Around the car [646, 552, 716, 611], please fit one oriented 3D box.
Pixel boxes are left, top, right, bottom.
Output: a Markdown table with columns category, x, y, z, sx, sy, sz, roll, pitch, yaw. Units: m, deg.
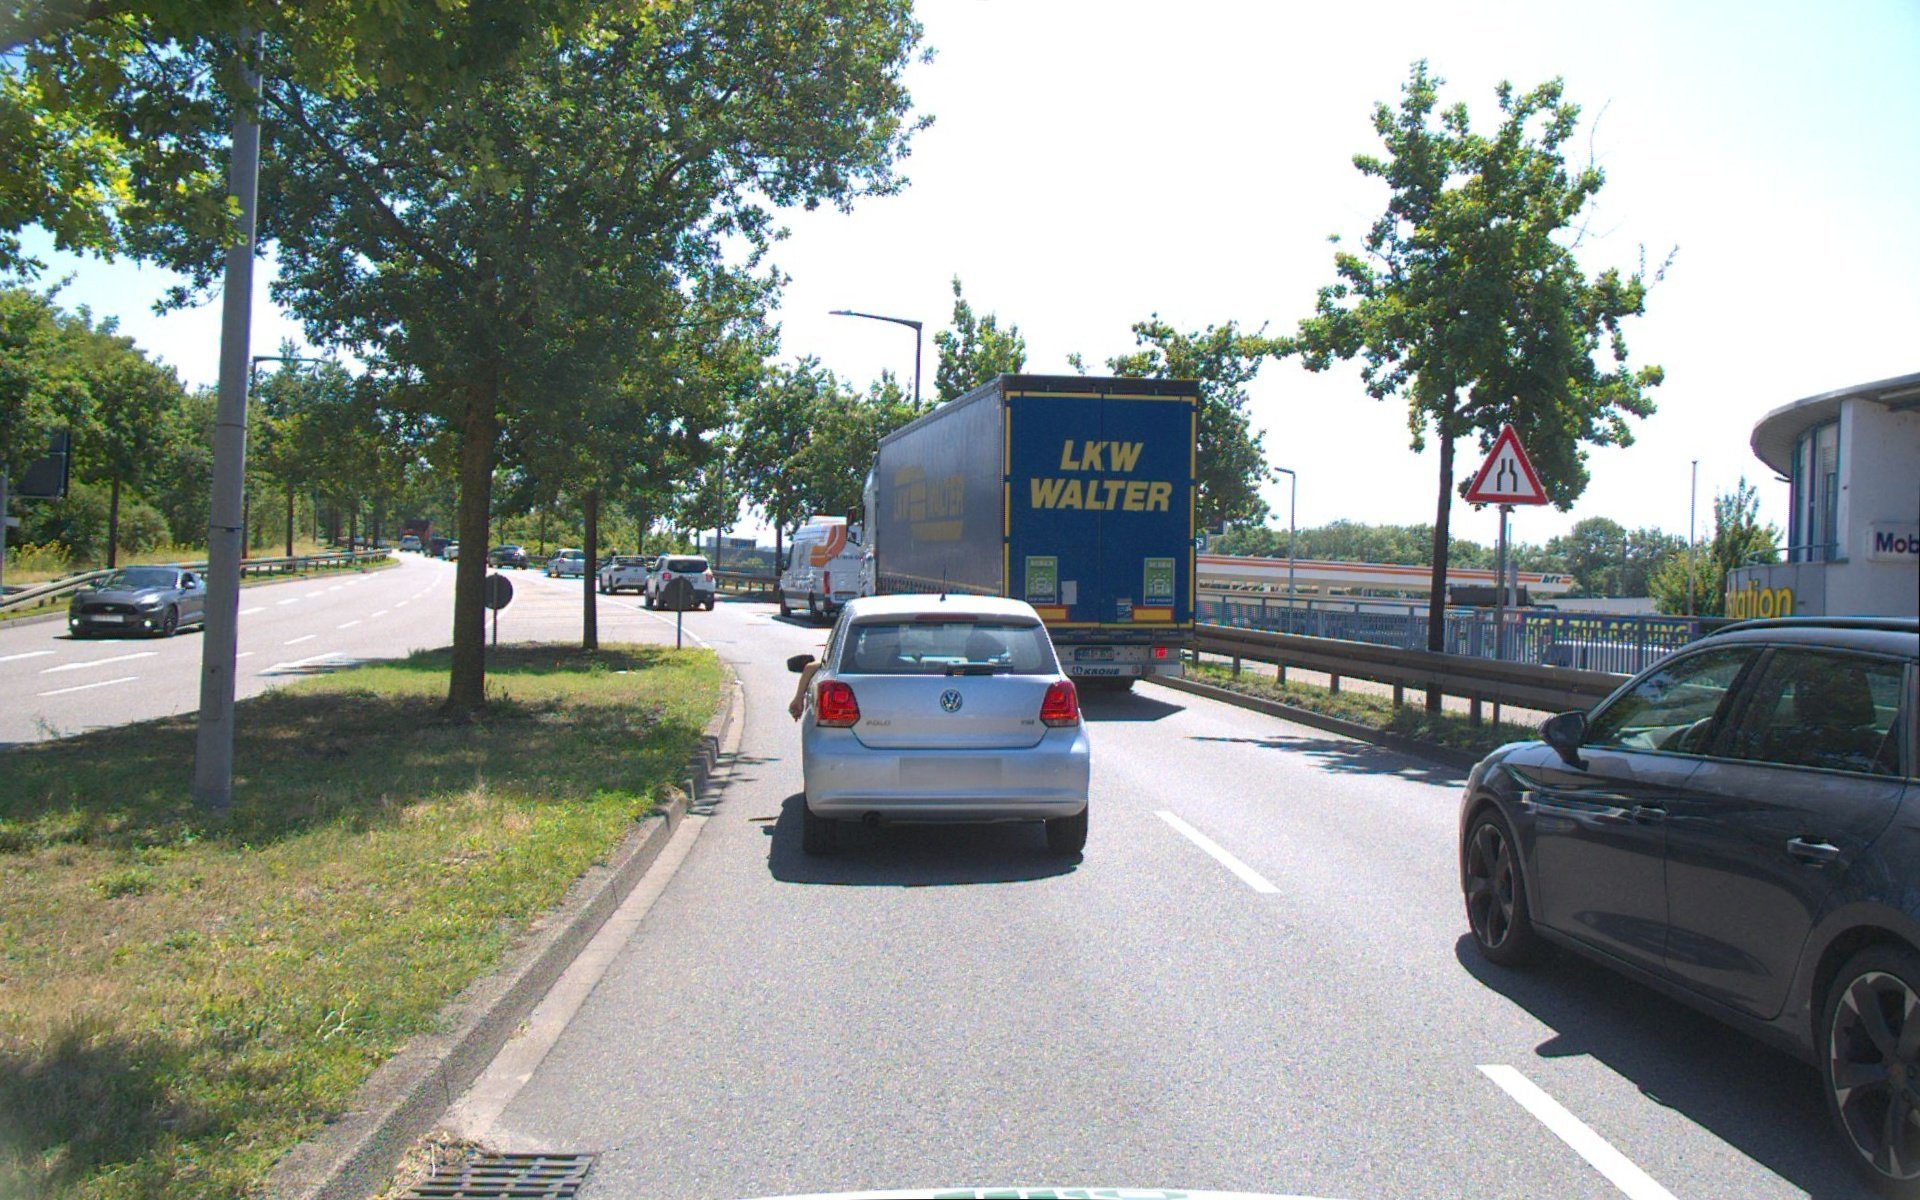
| category | x | y | z | sx | sy | sz | roll | pitch | yaw |
| --- | --- | --- | --- | --- | --- | --- | --- | --- | --- |
| car | -8.890 | -0.560 | 52.535 | 1.871 | 1.748 | 4.208 | 1 | 0 | -14 |

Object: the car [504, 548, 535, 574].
| category | x | y | z | sx | sy | sz | roll | pitch | yaw |
| --- | --- | --- | --- | --- | --- | --- | --- | --- | --- |
| car | -27.424 | -2.402 | 102.963 | 1.639 | 1.490 | 3.563 | 2 | 0 | -18 |

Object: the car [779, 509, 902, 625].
| category | x | y | z | sx | sy | sz | roll | pitch | yaw |
| --- | --- | --- | --- | --- | --- | --- | --- | --- | --- |
| car | -3.442 | -0.950 | 46.142 | 2.140 | 2.951 | 6.332 | 2 | 1 | -16 |

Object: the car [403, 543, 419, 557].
| category | x | y | z | sx | sy | sz | roll | pitch | yaw |
| --- | --- | --- | --- | --- | --- | --- | --- | --- | --- |
| car | -49.650 | -4.510 | 149.618 | 1.301 | 1.158 | 2.979 | 2 | 0 | -19 |

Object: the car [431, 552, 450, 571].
| category | x | y | z | sx | sy | sz | roll | pitch | yaw |
| --- | --- | --- | --- | --- | --- | --- | --- | --- | --- |
| car | -40.075 | -2.975 | 127.553 | 1.395 | 1.337 | 3.320 | 2 | 0 | -18 |

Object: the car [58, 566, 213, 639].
| category | x | y | z | sx | sy | sz | roll | pitch | yaw |
| --- | --- | --- | --- | --- | --- | --- | --- | --- | --- |
| car | -16.906 | 0.052 | 34.132 | 1.778 | 1.357 | 4.554 | 1 | 0 | -13 |

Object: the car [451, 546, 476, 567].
| category | x | y | z | sx | sy | sz | roll | pitch | yaw |
| --- | --- | --- | --- | --- | --- | --- | --- | --- | --- |
| car | -34.854 | -3.032 | 116.014 | 1.435 | 1.337 | 3.616 | 2 | 0 | -20 |

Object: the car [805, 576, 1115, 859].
| category | x | y | z | sx | sy | sz | roll | pitch | yaw |
| --- | --- | --- | --- | --- | --- | --- | --- | --- | --- |
| car | -0.142 | 0.631 | 10.496 | 1.614 | 1.464 | 3.533 | 1 | 0 | -5 |

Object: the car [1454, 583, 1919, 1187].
| category | x | y | z | sx | sy | sz | roll | pitch | yaw |
| --- | --- | --- | --- | --- | --- | --- | --- | --- | --- |
| car | 3.092 | 0.722 | 5.250 | 1.573 | 1.481 | 4.232 | 1 | 0 | -3 |

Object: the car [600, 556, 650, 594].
| category | x | y | z | sx | sy | sz | roll | pitch | yaw |
| --- | --- | --- | --- | --- | --- | --- | --- | --- | --- |
| car | -13.209 | -0.991 | 65.150 | 1.472 | 1.383 | 3.643 | 1 | 1 | -19 |

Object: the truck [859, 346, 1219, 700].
| category | x | y | z | sx | sy | sz | roll | pitch | yaw |
| --- | --- | --- | --- | --- | --- | --- | --- | --- | --- |
| truck | 0.499 | -1.014 | 28.450 | 2.781 | 4.271 | 16.439 | 1 | 0 | -9 |

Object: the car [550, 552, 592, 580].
| category | x | y | z | sx | sy | sz | roll | pitch | yaw |
| --- | --- | --- | --- | --- | --- | --- | --- | --- | --- |
| car | -20.322 | -1.772 | 86.314 | 1.586 | 1.383 | 3.637 | 1 | 1 | -23 |
